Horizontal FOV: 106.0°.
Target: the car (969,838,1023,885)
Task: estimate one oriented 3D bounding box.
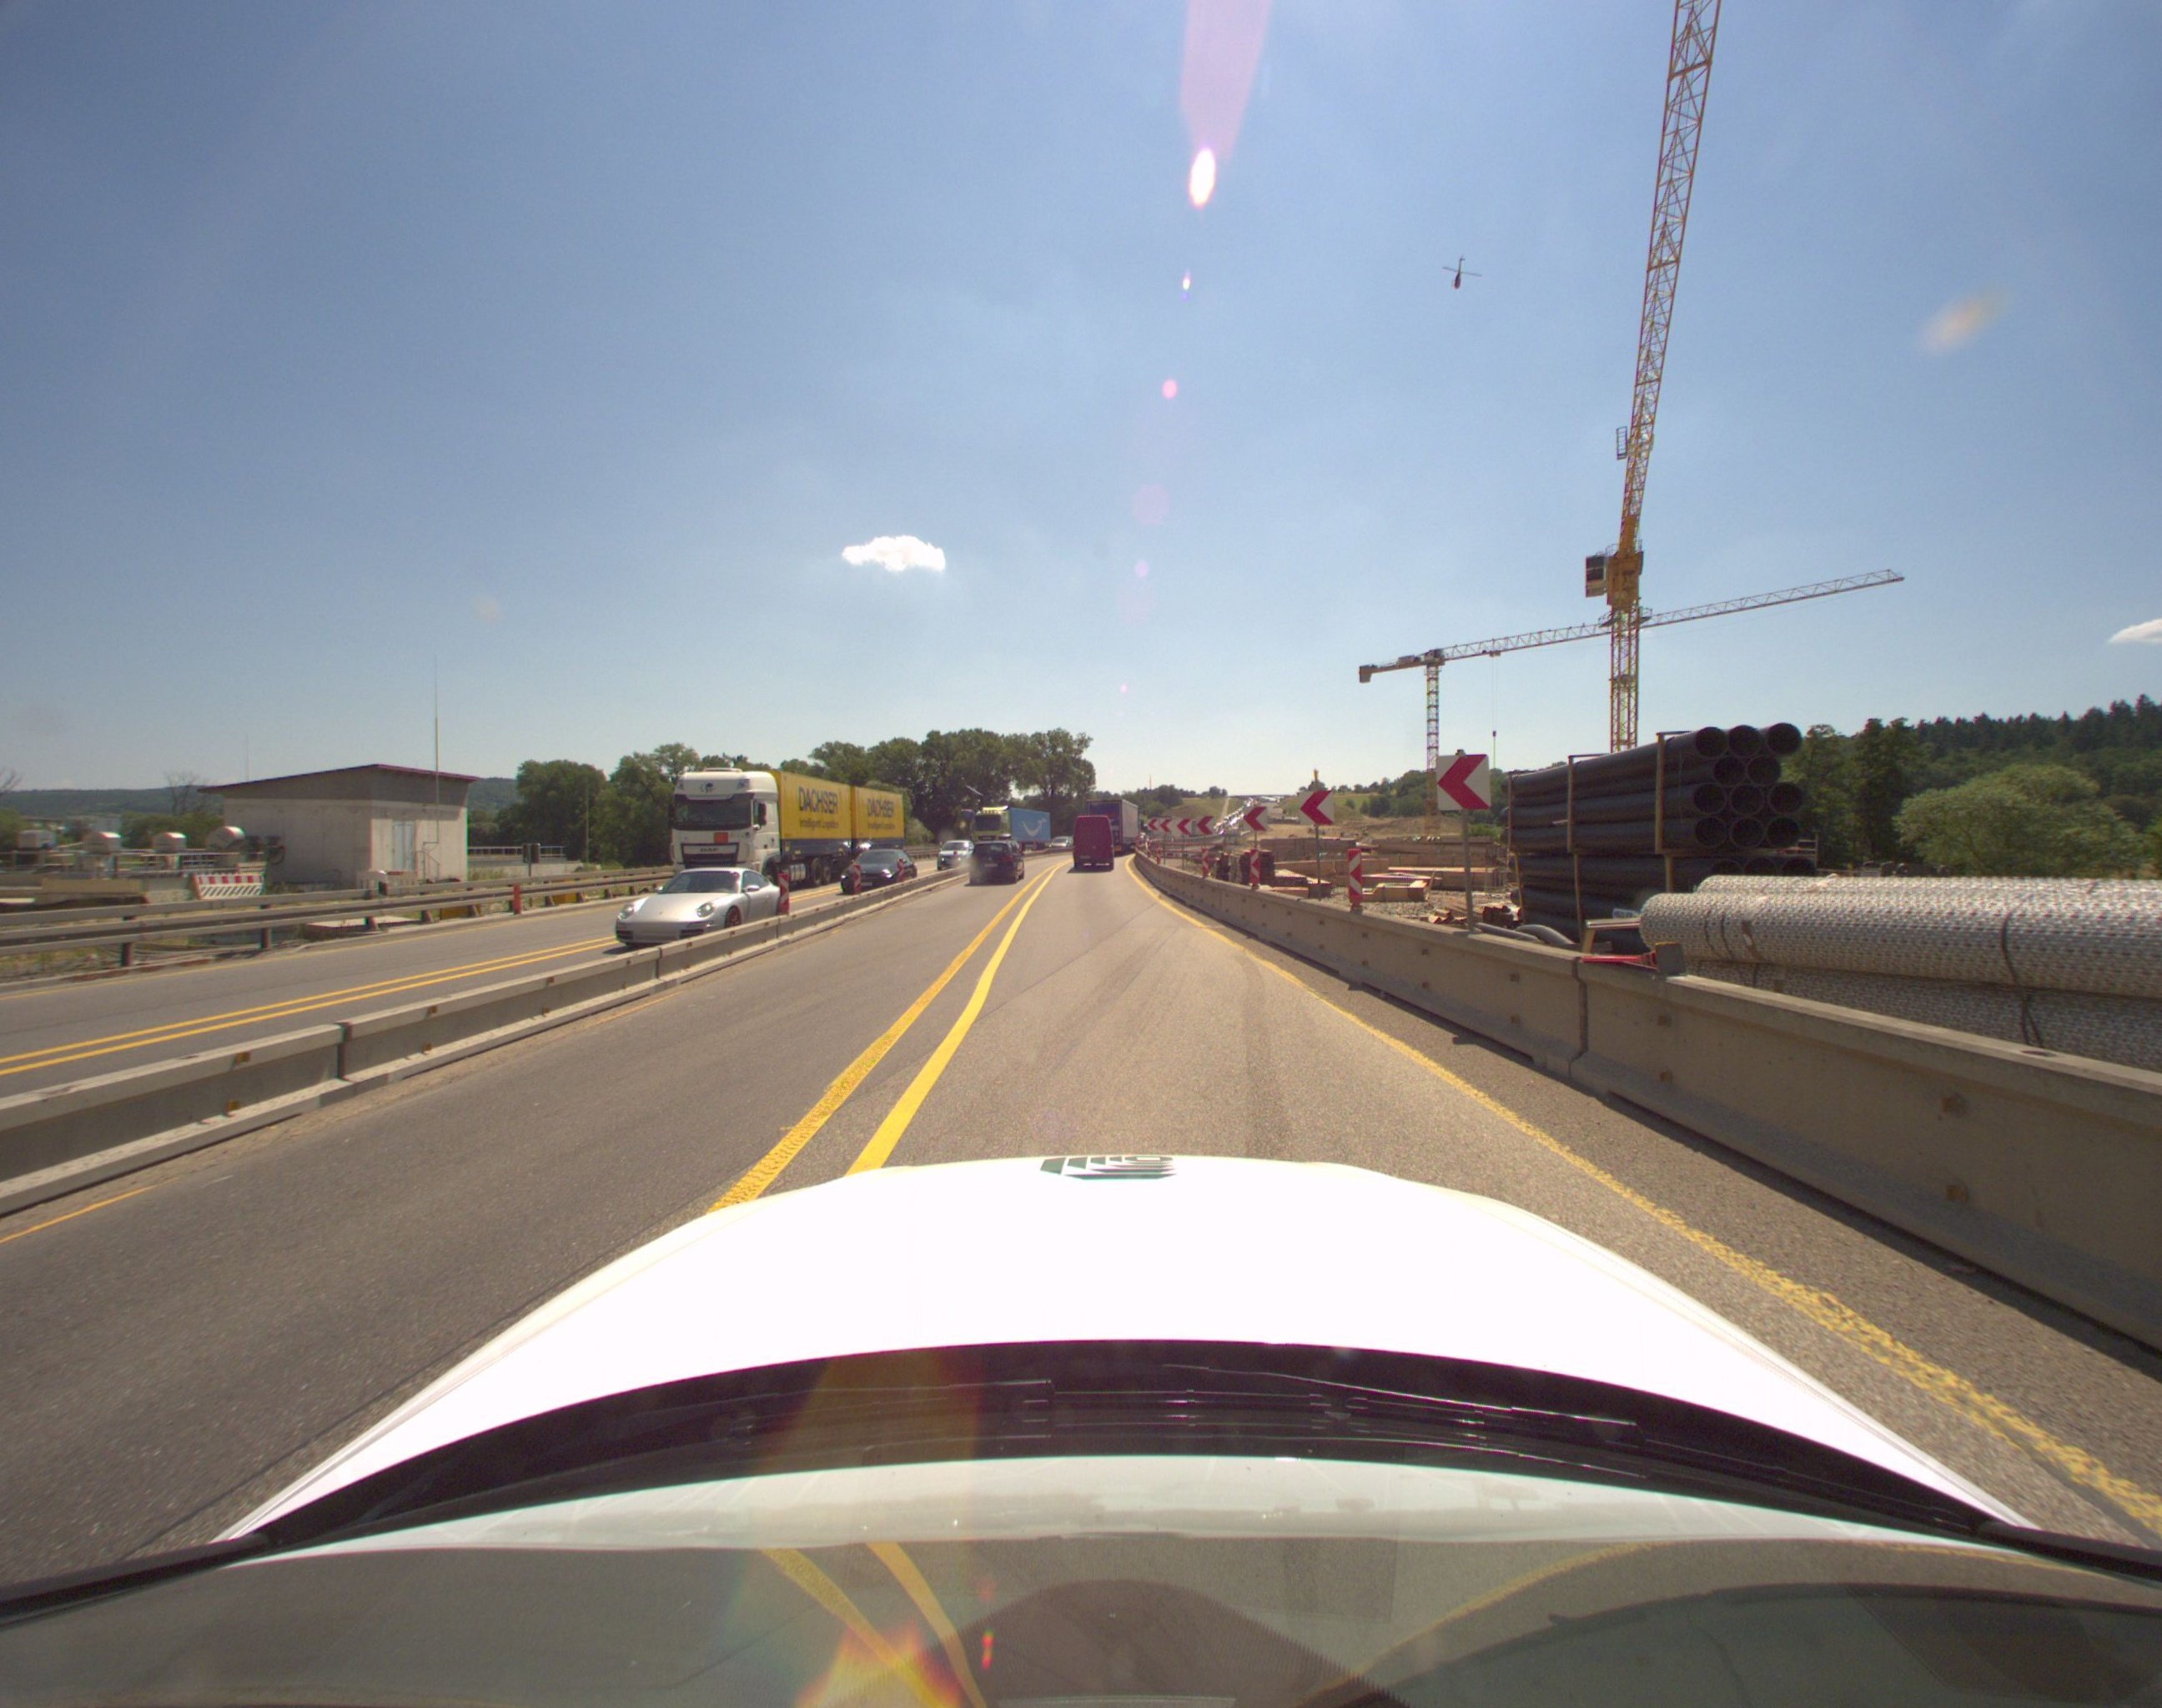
[{"bbox_3d":[-3.297,0.243,32.254,1.729,1.635,4.388,-1,2,-1],"label":"car"}]

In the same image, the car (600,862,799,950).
[{"bbox_3d":[-6.762,0.839,15.013,1.672,1.264,4.334,0,1,-1],"label":"car"}]

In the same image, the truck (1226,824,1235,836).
[{"bbox_3d":[39.846,-6.344,217.675,2.277,3.196,6.502,-1,1,10],"label":"truck"}]

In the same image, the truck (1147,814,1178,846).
[{"bbox_3d":[10.561,-3.060,105.173,3.161,3.989,6.764,-1,1,12],"label":"truck"}]

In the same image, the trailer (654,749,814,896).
[{"bbox_3d":[-10.962,-0.941,26.351,2.857,4.229,5.218,-1,0,0],"label":"trailer"}]

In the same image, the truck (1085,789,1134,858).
[{"bbox_3d":[2.268,-2.250,61.650,2.928,4.945,6.757,-1,1,8],"label":"truck"}]

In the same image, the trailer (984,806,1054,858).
[{"bbox_3d":[-5.466,-1.930,74.899,2.630,4.292,13.354,1,1,12],"label":"trailer"}]

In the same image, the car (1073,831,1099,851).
[{"bbox_3d":[0.466,-1.085,68.964,1.825,1.635,4.394,-1,0,4],"label":"car"}]

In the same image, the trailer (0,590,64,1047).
[{"bbox_3d":[-10.283,-0.321,2.020,2.517,3.789,10.245,0,0,1],"label":"trailer"}]

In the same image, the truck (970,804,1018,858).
[{"bbox_3d":[-7.118,-1.869,67.275,2.608,4.270,4.747,1,1,11],"label":"truck"}]

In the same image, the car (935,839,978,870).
[{"bbox_3d":[-6.603,-0.032,43.574,1.631,1.485,4.001,-1,2,1],"label":"car"}]

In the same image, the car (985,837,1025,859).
[{"bbox_3d":[-5.207,-0.440,56.147,1.811,1.435,4.593,0,2,7],"label":"car"}]

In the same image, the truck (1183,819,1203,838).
[{"bbox_3d":[21.547,-4.889,156.326,3.163,2.977,8.925,-1,-2,11],"label":"truck"}]

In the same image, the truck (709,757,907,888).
[{"bbox_3d":[-10.745,-1.140,34.832,2.796,4.342,15.382,0,1,2],"label":"truck"}]

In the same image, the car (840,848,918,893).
[{"bbox_3d":[-6.918,0.513,28.375,1.672,1.362,4.501,0,1,-1],"label":"car"}]

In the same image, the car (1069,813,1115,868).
[{"bbox_3d":[0.493,-0.620,41.352,2.143,2.611,5.436,0,0,-1],"label":"car"}]

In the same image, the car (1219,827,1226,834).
[{"bbox_3d":[34.370,-5.624,197.345,1.607,1.699,3.902,0,1,11],"label":"car"}]
